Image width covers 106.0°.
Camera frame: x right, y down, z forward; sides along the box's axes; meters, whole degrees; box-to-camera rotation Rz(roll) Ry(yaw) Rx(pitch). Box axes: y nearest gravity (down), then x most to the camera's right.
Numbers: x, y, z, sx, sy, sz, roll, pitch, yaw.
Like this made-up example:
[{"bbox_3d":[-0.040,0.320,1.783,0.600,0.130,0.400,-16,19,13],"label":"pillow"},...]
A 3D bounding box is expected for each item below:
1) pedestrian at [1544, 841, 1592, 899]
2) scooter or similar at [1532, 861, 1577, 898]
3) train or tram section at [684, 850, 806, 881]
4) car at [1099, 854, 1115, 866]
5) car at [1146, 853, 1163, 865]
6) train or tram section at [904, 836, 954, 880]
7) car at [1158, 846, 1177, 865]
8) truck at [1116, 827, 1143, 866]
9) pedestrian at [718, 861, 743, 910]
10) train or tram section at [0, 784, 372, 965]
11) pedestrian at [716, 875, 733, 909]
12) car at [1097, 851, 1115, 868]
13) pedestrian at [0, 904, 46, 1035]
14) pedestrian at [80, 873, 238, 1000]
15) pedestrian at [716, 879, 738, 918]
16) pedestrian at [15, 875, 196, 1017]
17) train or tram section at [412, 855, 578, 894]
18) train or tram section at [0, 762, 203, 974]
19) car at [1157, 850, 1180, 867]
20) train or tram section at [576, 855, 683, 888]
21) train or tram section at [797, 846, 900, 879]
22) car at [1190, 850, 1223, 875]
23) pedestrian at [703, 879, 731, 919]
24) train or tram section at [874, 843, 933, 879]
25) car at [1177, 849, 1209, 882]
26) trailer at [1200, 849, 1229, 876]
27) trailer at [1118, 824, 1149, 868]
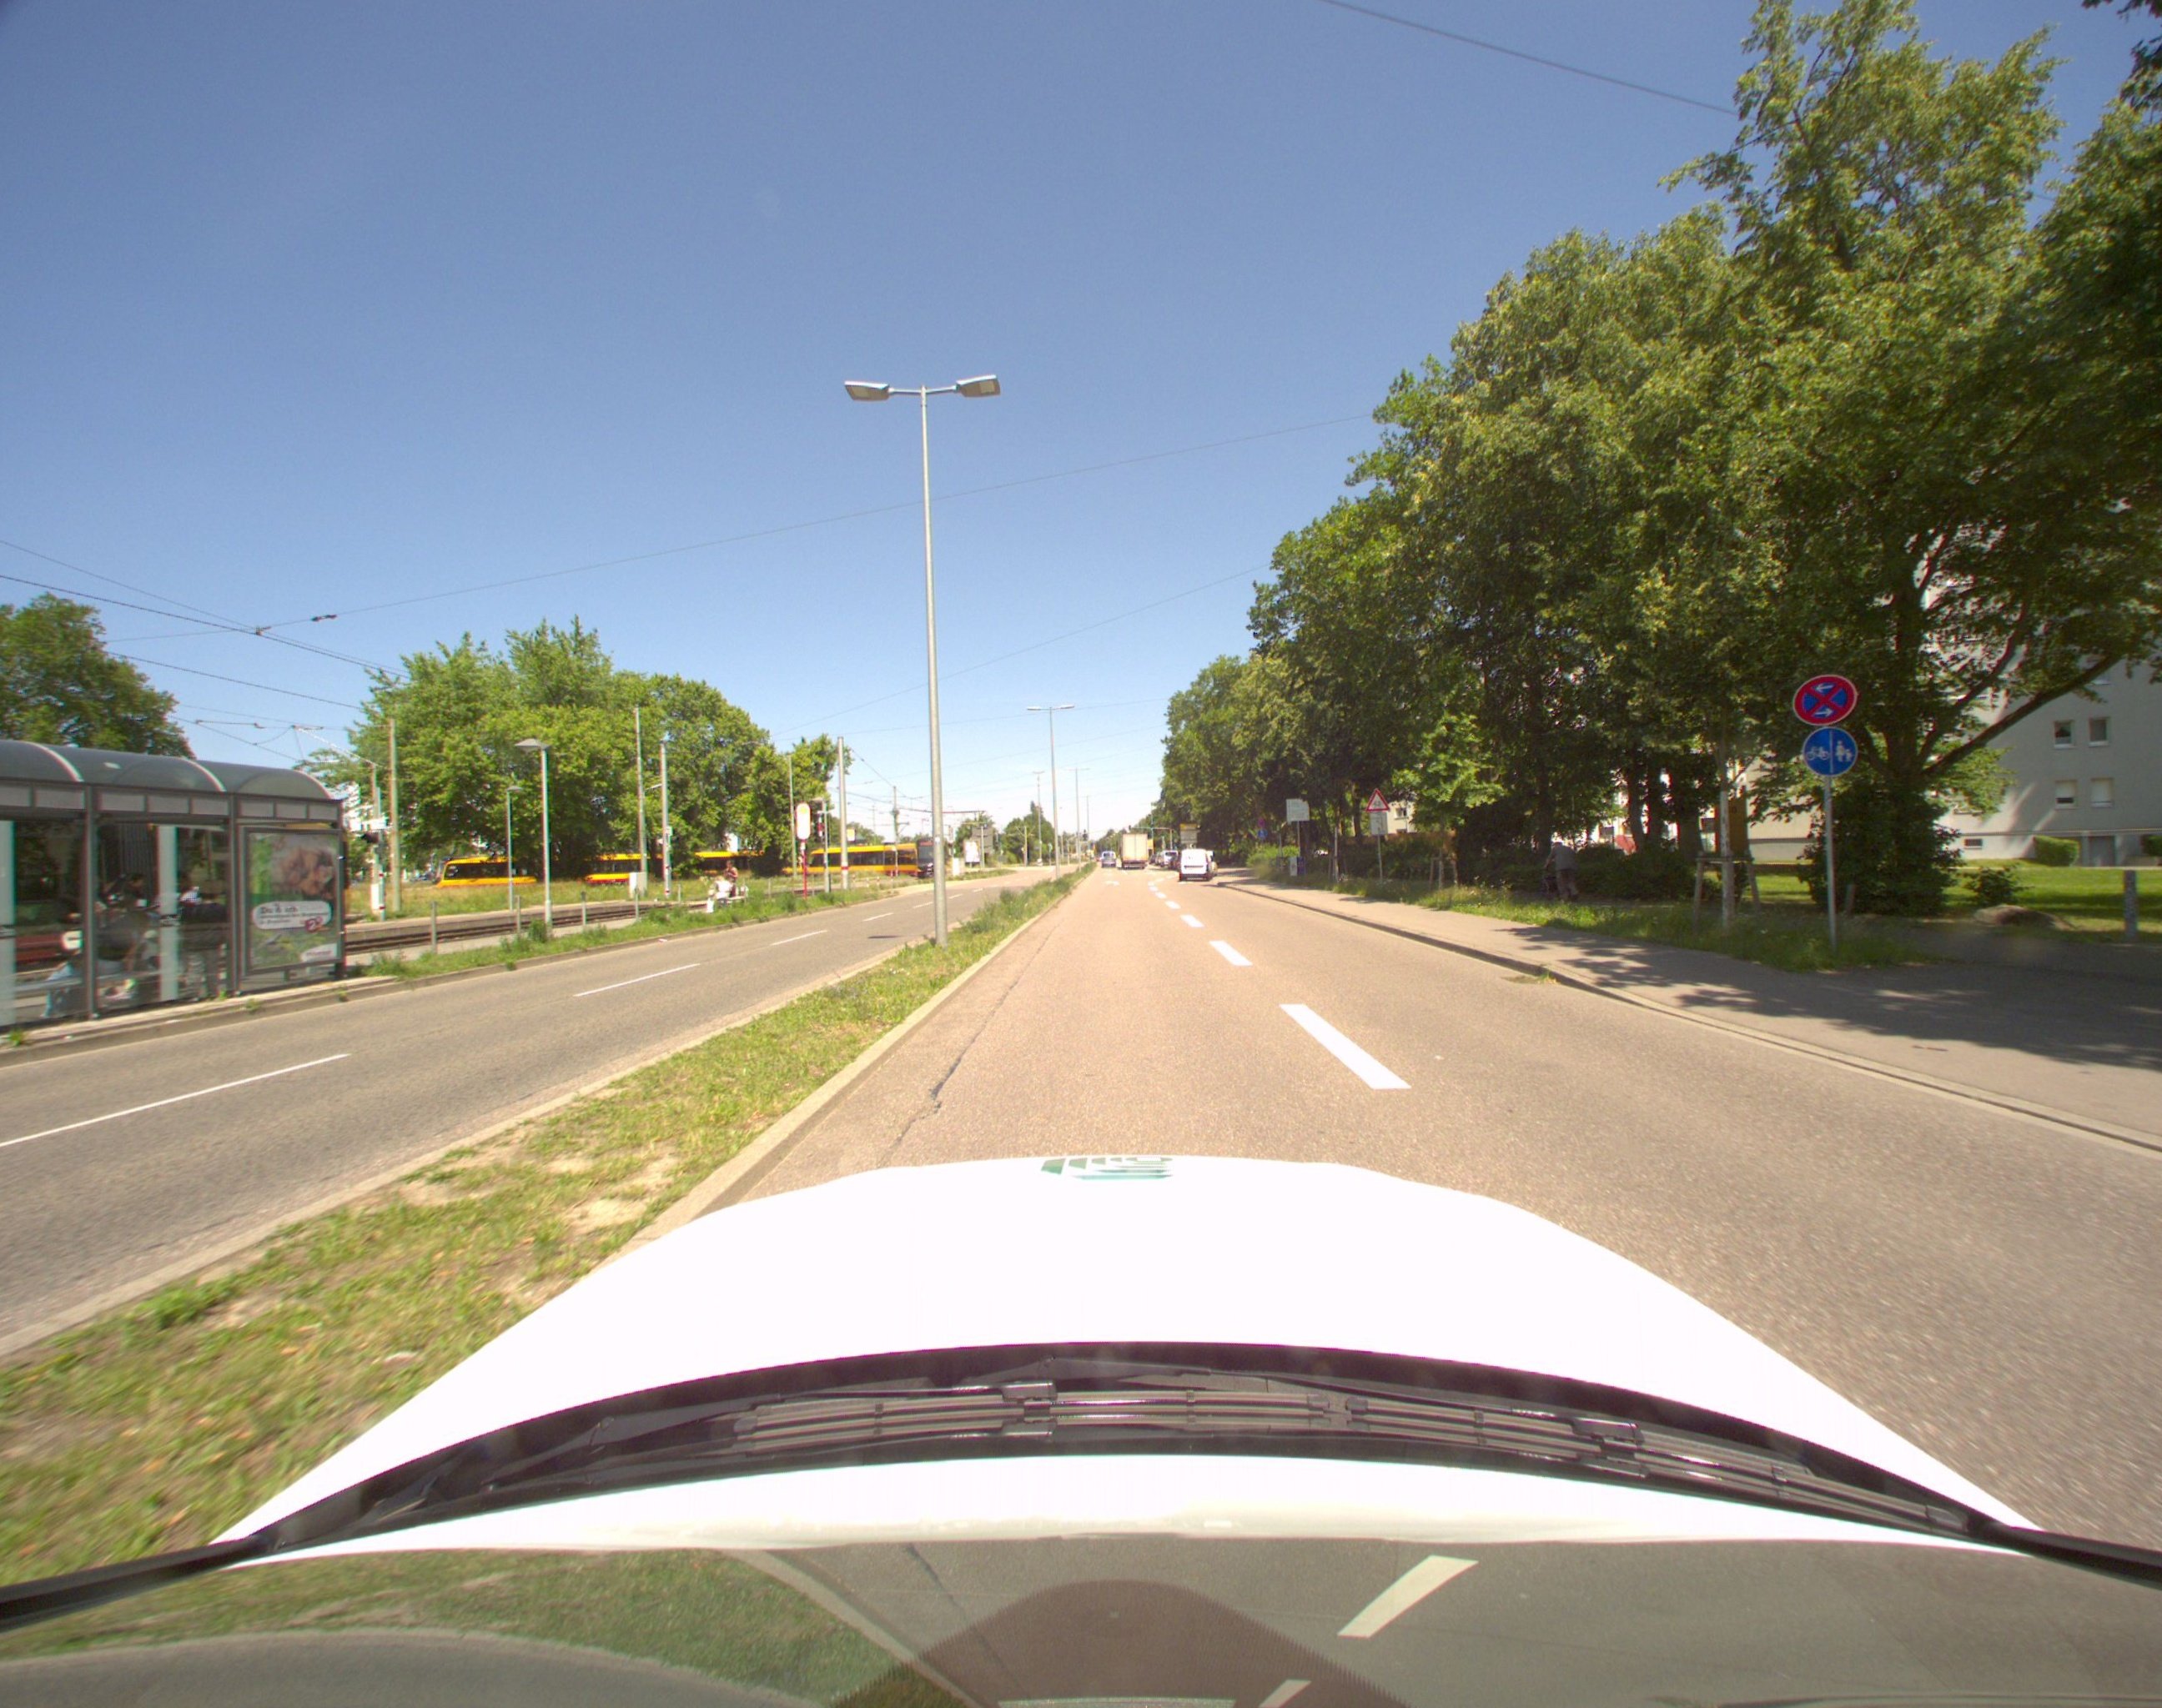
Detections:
[{"bbox_3d":[11.837,0.381,19.814,0.705,1.398,0.763,0,0,3],"label":"pedestrian"},{"bbox_3d":[11.868,0.633,20.419,0.705,0.893,0.763,0,0,3],"label":"scooter or similar"},{"bbox_3d":[-38.612,1.287,93.932,12.687,3.466,3.041,0,0,-5],"label":"train or tram section"},{"bbox_3d":[3.207,0.733,99.455,1.886,1.372,4.430,1,-2,1],"label":"car"},{"bbox_3d":[9.603,0.587,107.220,1.986,1.437,4.253,-1,1,2],"label":"car"},{"bbox_3d":[-13.588,0.311,71.985,3.043,3.466,13.218,0,0,-16],"label":"train or tram section"},{"bbox_3d":[10.291,0.173,96.667,1.884,2.121,3.887,0,0,1],"label":"car"},{"bbox_3d":[5.712,-0.880,96.602,2.817,4.344,8.285,0,1,1],"label":"truck"},{"bbox_3d":[-11.382,1.026,26.476,0.533,1.565,0.582,0,0,0],"label":"pedestrian"},{"bbox_3d":[-23.588,0.423,22.308,3.059,3.624,12.347,0,0,-26],"label":"train or tram section"},{"bbox_3d":[-11.343,1.205,25.929,0.381,1.058,0.377,0,0,0],"label":"pedestrian"},{"bbox_3d":[3.251,0.748,106.826,1.988,2.111,4.745,-1,1,-2],"label":"car"},{"bbox_3d":[-11.099,1.161,8.030,0.699,1.283,0.840,0,0,0],"label":"pedestrian"},{"bbox_3d":[-11.954,1.034,10.599,0.927,1.546,0.985,0,0,-1],"label":"pedestrian"},{"bbox_3d":[-11.109,1.385,25.554,0.492,1.189,0.400,0,0,0],"label":"pedestrian"},{"bbox_3d":[-11.361,1.030,9.533,0.871,1.546,1.026,0,0,0],"label":"pedestrian"},{"bbox_3d":[-58.610,1.929,82.157,3.007,3.466,13.350,-1,0,35],"label":"train or tram section"},{"bbox_3d":[-19.501,0.249,11.521,3.046,3.624,12.399,0,0,-12],"label":"train or tram section"},{"bbox_3d":[8.396,0.450,78.122,1.852,1.549,3.887,0,0,1],"label":"car"},{"bbox_3d":[-50.003,1.855,90.612,10.248,3.466,3.019,0,0,-28],"label":"train or tram section"},{"bbox_3d":[-26.167,0.927,91.119,12.588,3.466,3.065,0,0,29],"label":"train or tram section"},{"bbox_3d":[8.746,0.574,56.894,1.694,1.654,4.399,0,0,1],"label":"car"},{"bbox_3d":[-11.191,1.371,25.059,0.578,1.189,0.537,0,0,2],"label":"pedestrian"},{"bbox_3d":[-18.220,0.700,82.907,3.055,3.466,10.128,0,0,-29],"label":"train or tram section"},{"bbox_3d":[6.391,0.623,46.451,1.700,1.747,4.437,0,0,8],"label":"car"},{"bbox_3d":[8.721,0.549,53.233,1.464,1.669,2.856,0,0,0],"label":"trailer"},{"bbox_3d":[5.625,-0.836,88.097,2.817,4.421,8.749,0,0,0],"label":"trailer"}]
